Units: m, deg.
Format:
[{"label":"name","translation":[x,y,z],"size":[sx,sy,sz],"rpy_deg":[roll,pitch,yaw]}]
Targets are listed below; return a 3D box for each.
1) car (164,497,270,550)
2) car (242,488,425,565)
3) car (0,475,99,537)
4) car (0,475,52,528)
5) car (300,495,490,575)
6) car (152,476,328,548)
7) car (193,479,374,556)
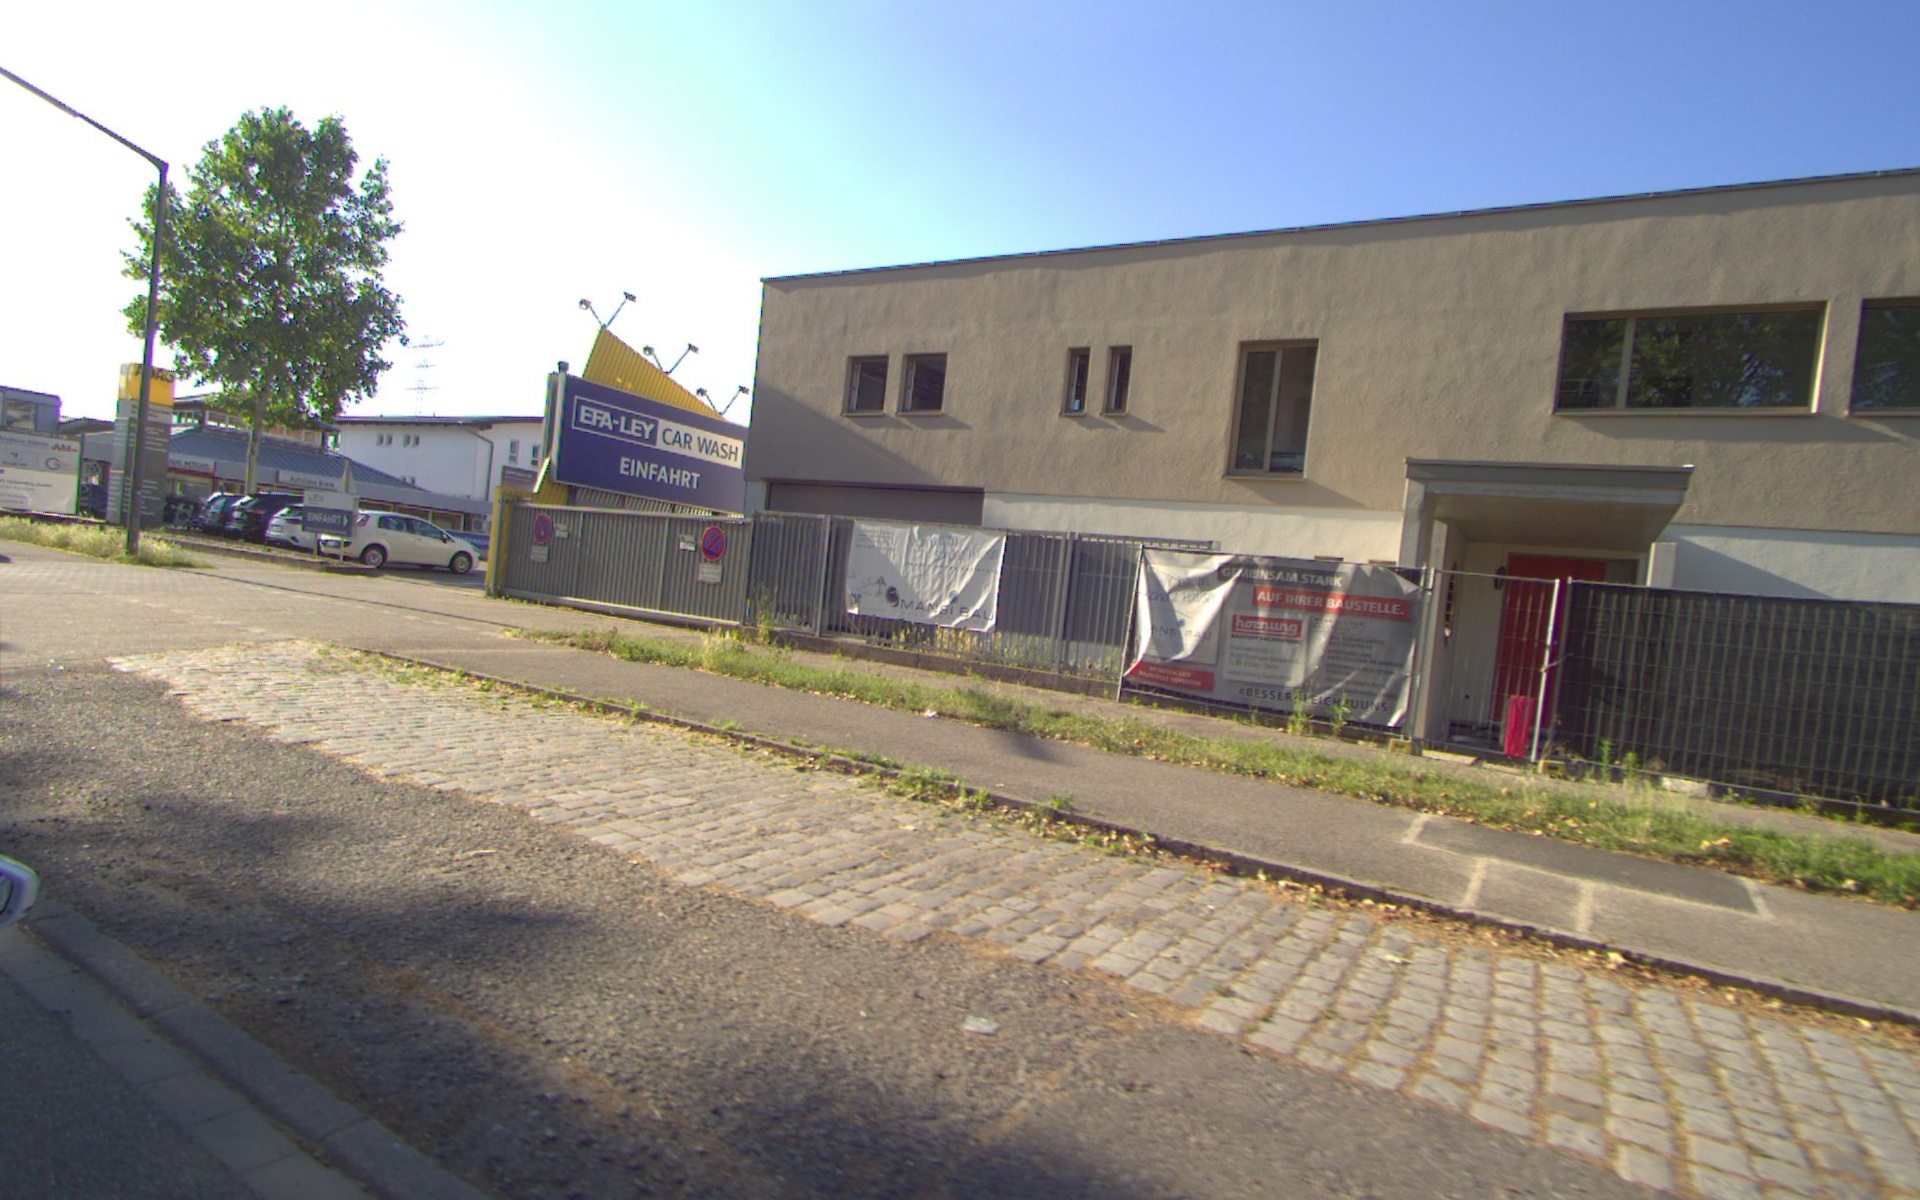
[{"label":"car","translation":[-32.704,-3.323,44.439],"size":[1.966,1.758,3.996],"rpy_deg":[7,-1,-9]},{"label":"car","translation":[-18.049,-2.082,29.188],"size":[1.919,1.537,3.997],"rpy_deg":[6,-2,27]},{"label":"car","translation":[-36.906,-3.785,39.204],"size":[2.165,1.921,4.503],"rpy_deg":[6,-2,31]},{"label":"car","translation":[-40.664,-4.297,41.706],"size":[2.165,1.922,3.939],"rpy_deg":[9,1,31]},{"label":"car","translation":[-15.265,-1.711,27.418],"size":[1.965,1.514,3.997],"rpy_deg":[6,-2,27]},{"label":"car","translation":[-22.763,-2.748,31.961],"size":[1.965,1.537,3.997],"rpy_deg":[6,-2,27]},{"label":"car","translation":[-20.371,-2.439,30.467],"size":[1.965,1.614,3.997],"rpy_deg":[6,-2,27]}]
